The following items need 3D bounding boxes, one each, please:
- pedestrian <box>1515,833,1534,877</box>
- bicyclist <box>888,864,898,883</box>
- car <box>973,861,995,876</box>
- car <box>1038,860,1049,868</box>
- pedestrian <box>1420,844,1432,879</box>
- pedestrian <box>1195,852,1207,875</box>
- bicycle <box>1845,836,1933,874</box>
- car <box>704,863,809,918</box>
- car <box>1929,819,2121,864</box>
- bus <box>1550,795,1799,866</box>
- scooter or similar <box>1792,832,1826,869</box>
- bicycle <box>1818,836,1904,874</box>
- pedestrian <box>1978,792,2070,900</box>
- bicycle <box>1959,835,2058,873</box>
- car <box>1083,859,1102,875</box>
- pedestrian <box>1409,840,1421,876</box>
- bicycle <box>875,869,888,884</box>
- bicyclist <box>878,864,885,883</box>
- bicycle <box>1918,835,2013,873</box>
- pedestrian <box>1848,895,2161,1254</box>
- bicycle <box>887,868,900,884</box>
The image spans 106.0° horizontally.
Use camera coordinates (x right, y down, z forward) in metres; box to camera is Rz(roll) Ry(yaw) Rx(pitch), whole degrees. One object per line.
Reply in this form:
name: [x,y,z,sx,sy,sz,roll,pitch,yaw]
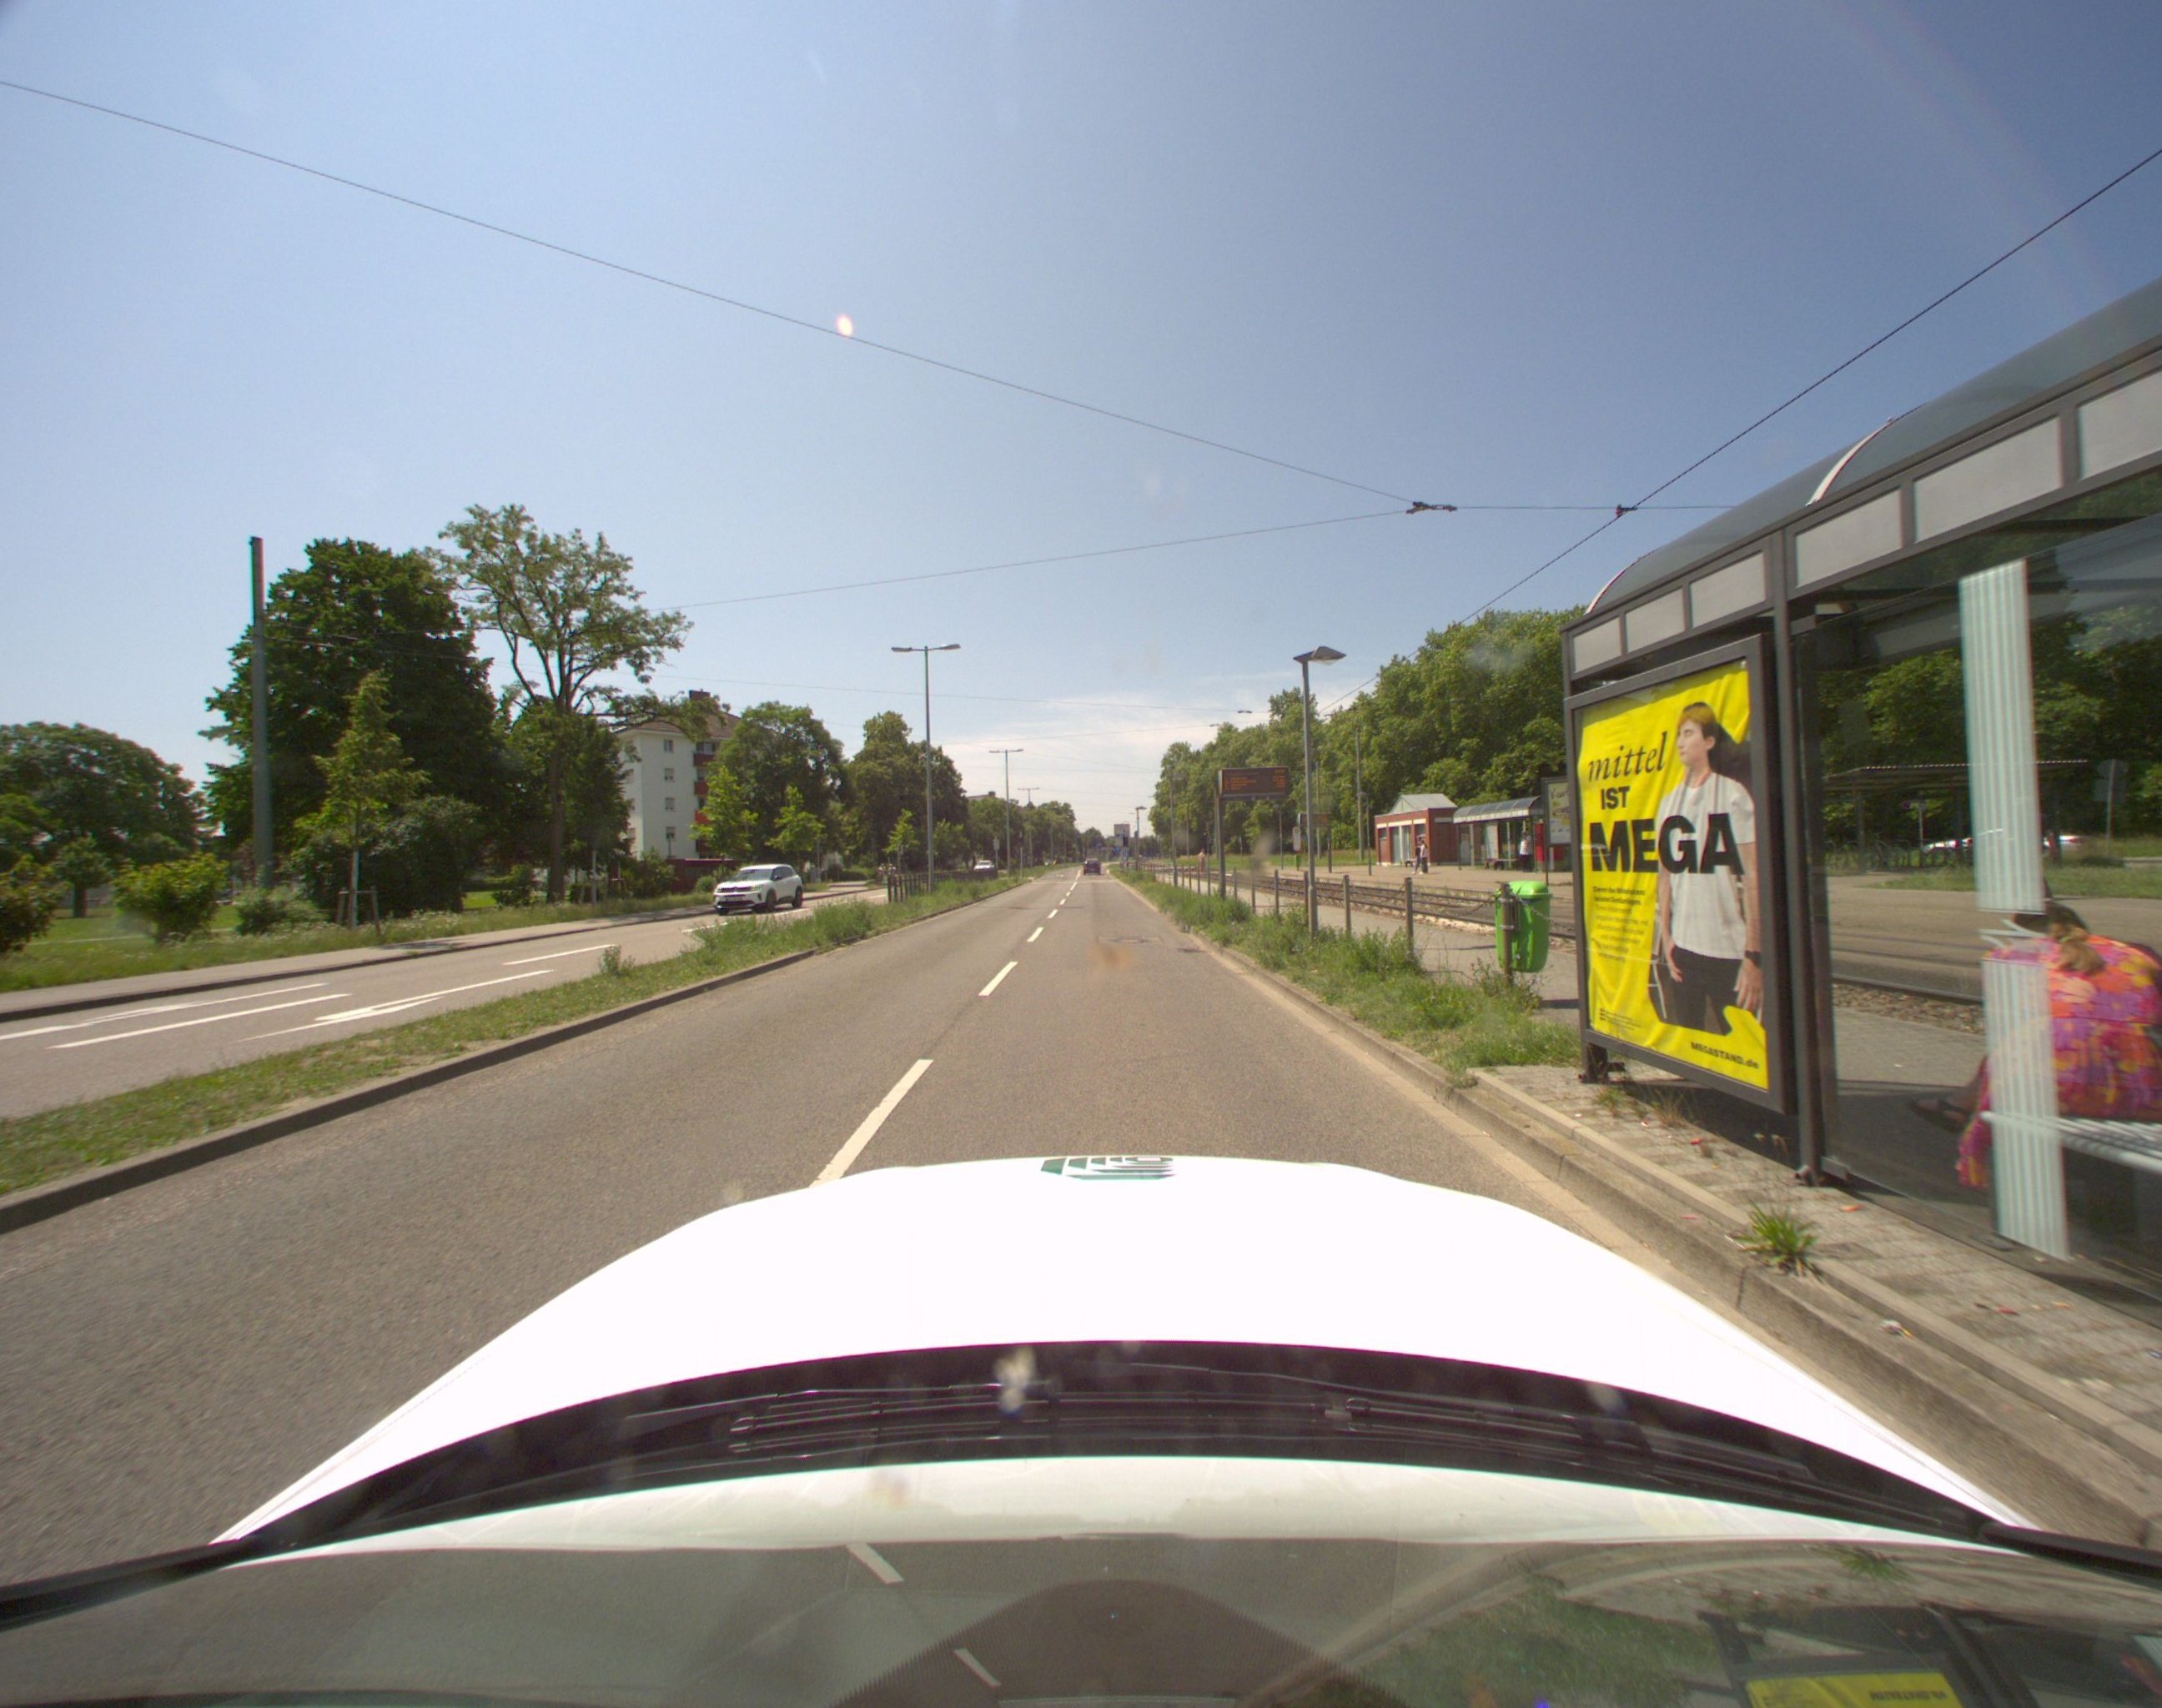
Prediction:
pedestrian: [18.314,0.040,33.663,0.380,1.774,0.740,-1,-2,4]
bicyclist: [-14.141,1.451,61.226,0.543,1.346,0.755,-2,-1,0]
car: [-10.771,1.580,90.665,1.815,1.572,4.347,-1,0,1]
car: [-7.215,1.913,158.689,1.749,1.543,4.163,-2,0,2]
pedestrian: [15.888,0.357,37.530,0.358,1.597,0.483,-1,-2,3]
pedestrian: [9.147,0.746,62.170,0.635,1.759,0.813,0,-2,-13]
bicycle: [24.884,0.004,25.141,0.595,1.087,2.192,-2,2,2]
car: [-11.396,1.238,28.945,1.853,1.758,4.479,-2,-1,0]
car: [38.329,-0.463,33.262,2.000,1.629,4.694,-2,0,-20]
bus: [33.769,-1.111,47.478,2.767,3.439,12.366,0,-1,-18]
scooter or similar: [22.942,-0.117,25.686,0.244,1.135,0.751,-2,0,-21]
bicycle: [24.032,0.004,25.150,0.595,1.087,2.192,-2,2,2]
pedestrian: [16.032,-0.135,13.864,0.703,1.764,0.658,-2,-1,2]
bicycle: [28.448,-0.026,25.040,0.595,1.087,2.192,-2,2,2]
car: [1.093,1.193,75.968,1.696,1.477,3.717,-2,0,1]
pedestrian: [15.681,0.195,38.257,0.358,1.646,0.446,-1,-2,3]
bicycle: [-15.037,1.667,61.326,0.552,1.094,1.380,0,-1,2]
bicyclist: [-15.030,1.465,61.378,0.356,1.392,0.441,-1,-1,3]
bicycle: [27.288,-0.014,25.191,0.595,1.087,2.192,-2,2,2]
pedestrian: [3.181,0.682,2.762,0.573,1.040,0.579,-2,-1,1]
bicycle: [-14.146,1.662,61.422,0.586,1.133,1.615,-2,0,1]
